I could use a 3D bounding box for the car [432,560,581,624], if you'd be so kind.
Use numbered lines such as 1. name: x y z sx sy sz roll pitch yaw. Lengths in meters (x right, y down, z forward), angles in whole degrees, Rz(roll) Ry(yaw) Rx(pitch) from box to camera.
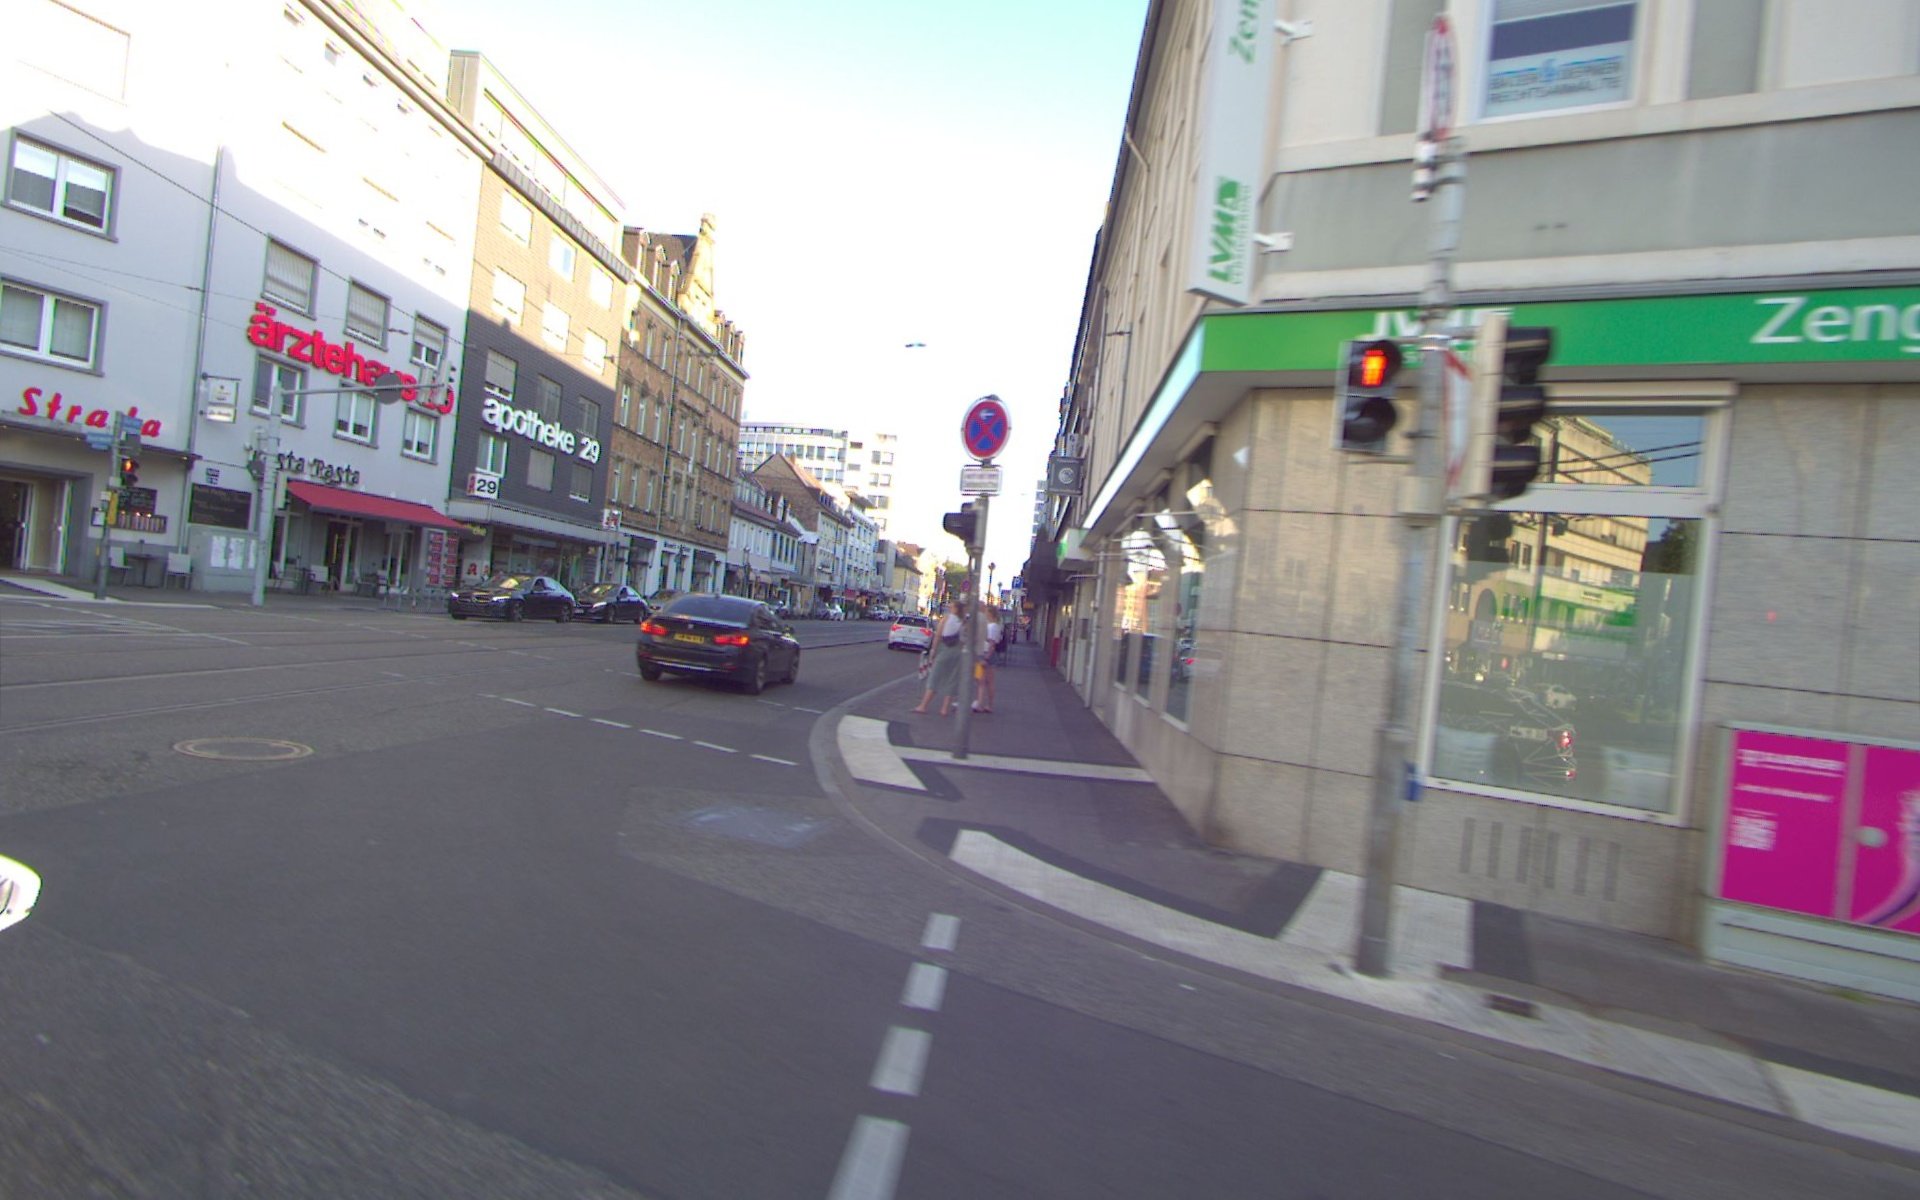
1. car: -12.749 -0.181 28.627 1.944 1.487 4.481 5 0 2

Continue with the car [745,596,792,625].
1. car: -13.650 0.785 72.055 1.954 1.724 4.989 6 -2 4

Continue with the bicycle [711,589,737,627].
1. bicycle: -11.043 0.381 47.077 0.848 1.652 3.050 6 -1 -10

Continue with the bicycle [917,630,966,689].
1. bicycle: -0.397 1.347 22.713 0.683 1.198 1.875 6 -2 9

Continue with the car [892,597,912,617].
1. car: -8.471 1.004 147.879 1.962 2.522 4.515 6 -2 7

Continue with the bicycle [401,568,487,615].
1. bicycle: -16.275 -0.258 31.786 2.253 1.207 0.656 6 -1 -1

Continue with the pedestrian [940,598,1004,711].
1. pedestrian: 0.194 0.902 16.804 0.753 1.792 0.685 6 -1 -13

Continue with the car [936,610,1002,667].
1. car: 0.399 1.392 36.366 1.962 1.723 4.512 6 -1 4

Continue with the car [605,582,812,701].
1. car: -3.818 0.641 16.197 1.962 1.437 4.512 6 -1 2

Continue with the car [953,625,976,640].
1. car: 0.459 3.150 97.550 1.761 1.187 4.511 9 -1 4

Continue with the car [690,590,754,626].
1. car: -14.008 0.518 59.582 1.954 1.724 4.990 6 -2 7

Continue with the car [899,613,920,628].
1. car: -6.803 2.765 135.114 1.962 1.547 4.515 6 -2 7

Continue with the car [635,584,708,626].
1. car: -12.086 0.254 42.394 1.736 1.436 3.684 6 -2 2

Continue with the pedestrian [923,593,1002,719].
1. pedestrian: 0.049 0.881 15.770 0.889 1.834 0.780 6 -1 16

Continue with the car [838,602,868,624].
1. car: -10.767 1.357 101.637 1.954 1.837 5.063 6 -2 4

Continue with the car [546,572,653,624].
1. car: -12.716 -0.017 35.797 1.962 1.542 4.401 5 -1 2

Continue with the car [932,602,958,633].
1. car: -2.223 2.805 153.008 2.914 4.092 12.261 6 -2 3

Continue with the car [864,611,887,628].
1. car: -10.583 2.472 126.674 1.938 1.724 4.989 6 -2 4

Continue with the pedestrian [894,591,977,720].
1. pedestrian: -0.354 0.826 15.067 0.889 1.792 0.780 6 -1 16

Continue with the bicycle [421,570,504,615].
1. bicycle: -16.334 -0.230 33.041 2.253 1.207 0.656 6 -1 -2

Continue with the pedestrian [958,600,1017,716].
1. pedestrian: 0.439 0.938 16.357 0.619 1.792 0.682 6 -1 -13

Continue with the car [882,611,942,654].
1. car: -1.906 1.330 41.385 1.739 1.400 4.511 9 -1 4
